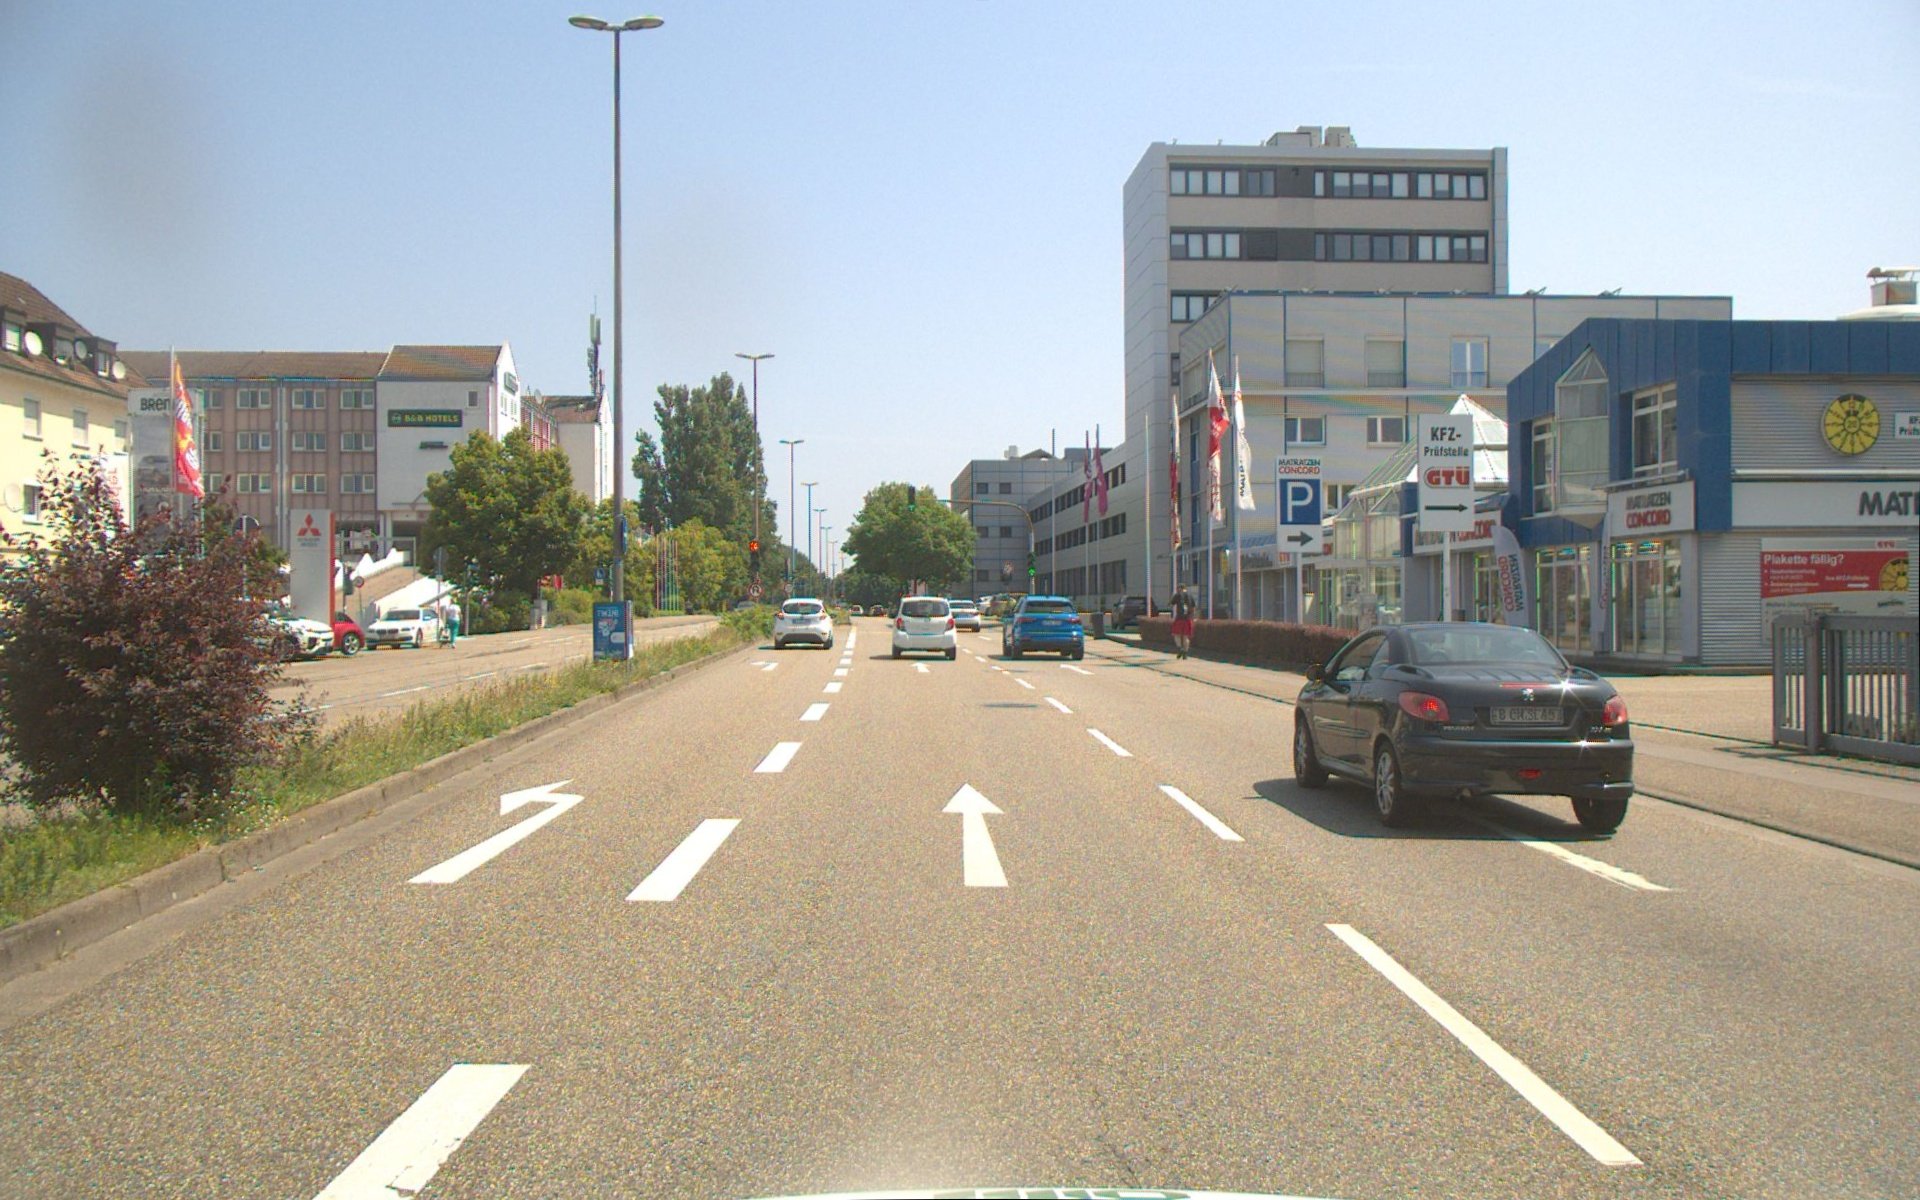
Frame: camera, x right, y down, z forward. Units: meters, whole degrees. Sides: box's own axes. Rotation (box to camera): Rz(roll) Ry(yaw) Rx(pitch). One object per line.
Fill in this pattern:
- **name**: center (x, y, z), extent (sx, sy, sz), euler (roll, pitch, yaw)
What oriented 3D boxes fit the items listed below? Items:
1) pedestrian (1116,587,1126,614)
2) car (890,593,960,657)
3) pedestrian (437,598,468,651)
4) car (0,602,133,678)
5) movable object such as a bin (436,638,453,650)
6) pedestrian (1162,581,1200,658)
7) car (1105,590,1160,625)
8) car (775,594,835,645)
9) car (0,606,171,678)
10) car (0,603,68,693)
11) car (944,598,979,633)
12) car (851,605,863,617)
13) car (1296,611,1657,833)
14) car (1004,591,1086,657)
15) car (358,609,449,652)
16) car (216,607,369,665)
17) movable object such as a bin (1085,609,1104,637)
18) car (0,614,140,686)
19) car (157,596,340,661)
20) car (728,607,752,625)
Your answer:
- **pedestrian**: center (9.990, 0.008, 102.655), extent (0.580, 1.663, 0.523), euler (-1, 0, 4)
- **car**: center (-0.923, 0.615, 42.512), extent (1.713, 1.546, 3.744), euler (1, 0, -2)
- **pedestrian**: center (-17.286, 0.838, 56.365), extent (0.725, 1.777, 1.033), euler (-1, 0, -1)
- **car**: center (-21.382, 0.913, 38.027), extent (3.961, 1.652, 1.735), euler (-1, 0, -39)
- **movable object such as a bin**: center (-17.424, 1.490, 55.932), extent (0.408, 0.378, 0.506), euler (-1, 0, -2)
- **pedestrian**: center (5.427, 0.471, 40.654), extent (0.769, 1.879, 0.936), euler (-1, 0, -1)
- **car**: center (7.879, 0.339, 75.779), extent (1.807, 1.558, 4.194), euler (1, 0, -3)
- **car**: center (-4.616, 0.552, 49.675), extent (1.655, 1.459, 3.709), euler (-1, 0, -3)
- **car**: center (-19.712, 0.902, 36.325), extent (3.909, 1.492, 1.758), euler (-1, 0, -5)
- **car**: center (-19.377, 0.911, 31.296), extent (3.909, 1.636, 1.923), euler (-1, 0, -5)
- **car**: center (0.056, 0.699, 75.221), extent (1.527, 1.546, 3.605), euler (-1, 0, -1)
- **car**: center (-15.645, 1.677, 251.193), extent (1.784, 1.691, 3.996), euler (-1, 0, -5)
- **car**: center (3.676, 0.795, 12.399), extent (1.594, 1.388, 3.605), euler (0, 0, 0)
- **car**: center (2.154, 0.597, 42.813), extent (1.791, 1.608, 3.603), euler (-1, 0, -3)
- **car**: center (-20.152, 1.068, 60.071), extent (1.740, 1.435, 4.758), euler (-1, 0, -1)
- **car**: center (-20.868, 1.094, 51.813), extent (1.802, 1.671, 4.165), euler (-1, 0, 34)
- **movable object such as a bin**: center (4.676, 0.796, 57.491), extent (0.540, 0.935, 0.652), euler (-4, 0, -3)
- **car**: center (-19.409, 1.033, 34.270), extent (3.909, 1.419, 1.858), euler (-1, 0, -5)
- **car**: center (-20.396, 0.793, 47.567), extent (4.458, 1.739, 1.758), euler (-1, 0, -5)
- **car**: center (-18.731, 1.346, 141.069), extent (1.955, 1.512, 4.495), euler (-1, 0, -7)
